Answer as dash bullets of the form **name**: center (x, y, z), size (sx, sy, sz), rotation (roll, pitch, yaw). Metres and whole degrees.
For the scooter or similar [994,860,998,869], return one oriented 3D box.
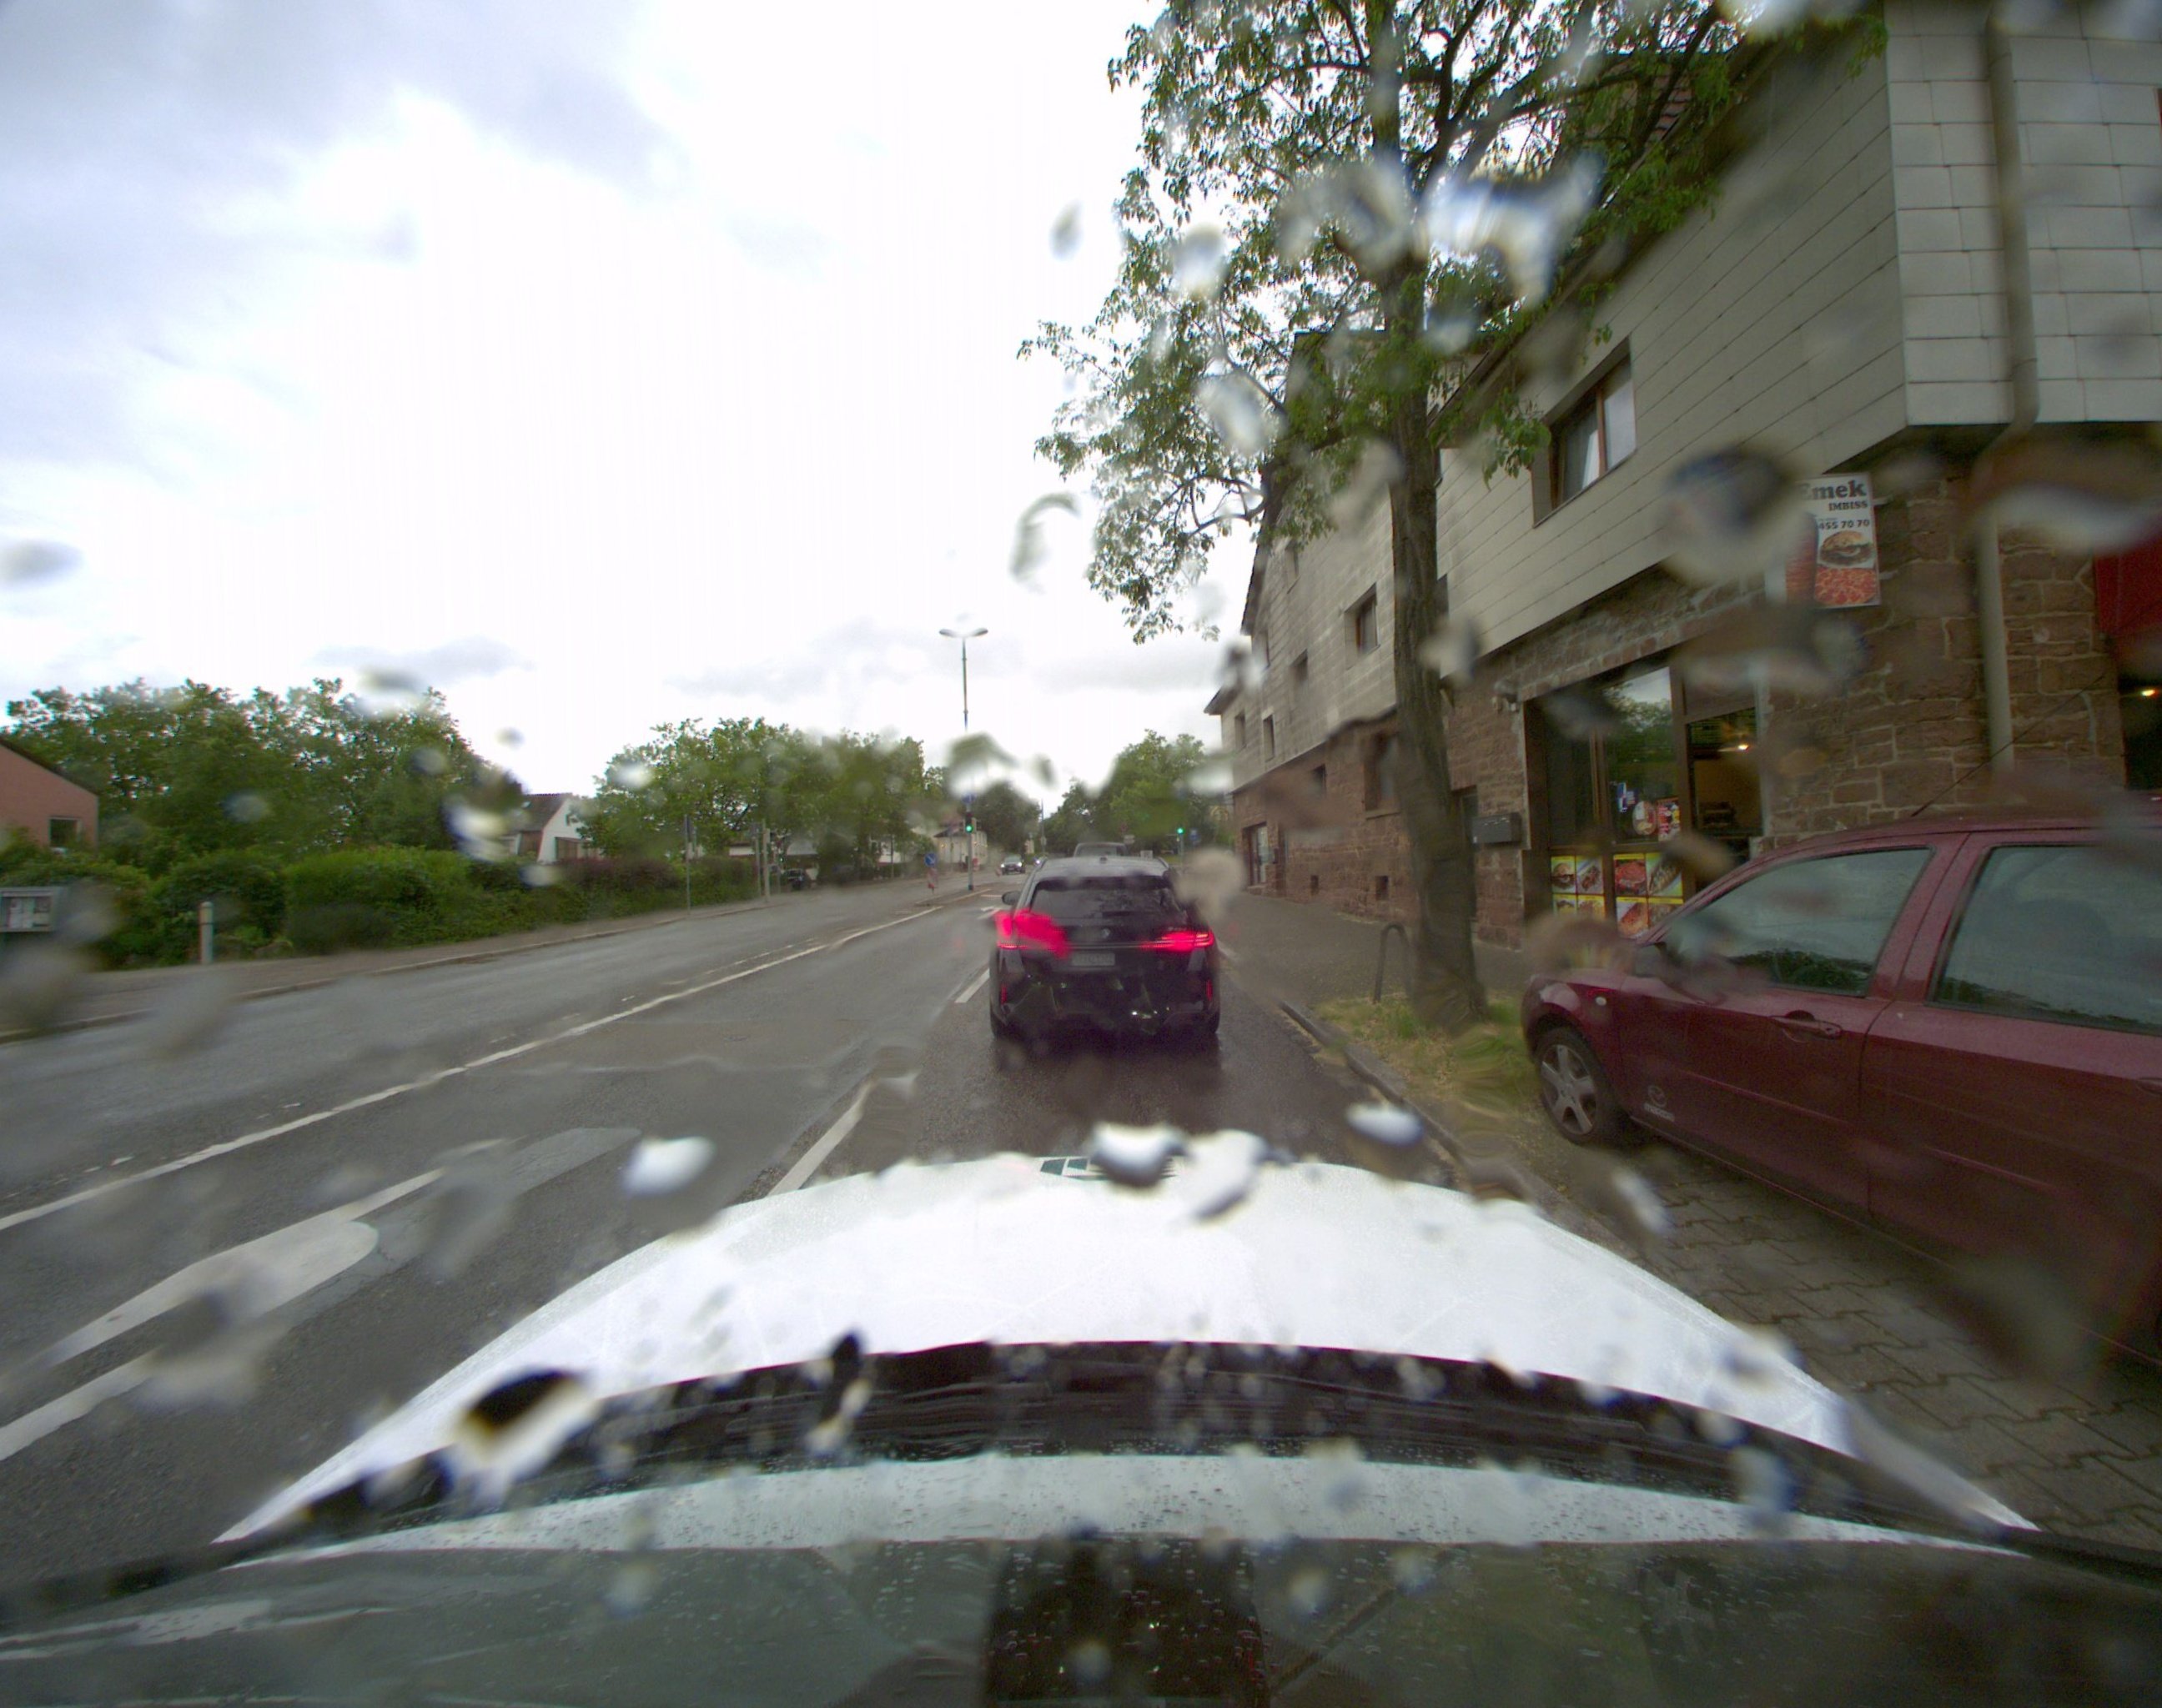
- **scooter or similar**: center (-10.990, 1.348, 105.414), size (0.388, 1.064, 1.409), rotation (0, -1, -2)

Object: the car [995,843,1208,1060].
- **car**: center (0.117, 0.712, 7.607), size (1.519, 1.534, 3.530), rotation (0, -1, -1)

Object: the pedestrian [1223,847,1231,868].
- **pedestrian**: center (11.464, 0.286, 63.775), size (0.597, 1.617, 0.527), rotation (-1, -1, 8)

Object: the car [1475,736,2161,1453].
- **car**: center (3.051, 0.533, 2.688), size (1.606, 1.504, 3.754), rotation (0, -2, -1)

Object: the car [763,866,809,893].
- **car**: center (-20.968, 1.764, 58.018), size (1.803, 1.551, 4.001), rotation (0, 3, 0)

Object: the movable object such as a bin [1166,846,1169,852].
- **movable object such as a bin**: center (12.249, -0.723, 115.194), size (0.446, 0.906, 0.465), rotation (-1, -1, 17)

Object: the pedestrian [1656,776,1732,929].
- **pedestrian**: center (6.833, -0.012, 9.094), size (0.490, 1.660, 0.455), rotation (0, -1, 1)

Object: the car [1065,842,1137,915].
- **car**: center (0.468, 0.626, 22.342), size (1.807, 1.809, 3.754), rotation (0, -1, -1)

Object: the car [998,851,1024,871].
- **car**: center (-5.996, 0.570, 70.178), size (1.893, 1.577, 4.500), rotation (-2, 1, -1)
